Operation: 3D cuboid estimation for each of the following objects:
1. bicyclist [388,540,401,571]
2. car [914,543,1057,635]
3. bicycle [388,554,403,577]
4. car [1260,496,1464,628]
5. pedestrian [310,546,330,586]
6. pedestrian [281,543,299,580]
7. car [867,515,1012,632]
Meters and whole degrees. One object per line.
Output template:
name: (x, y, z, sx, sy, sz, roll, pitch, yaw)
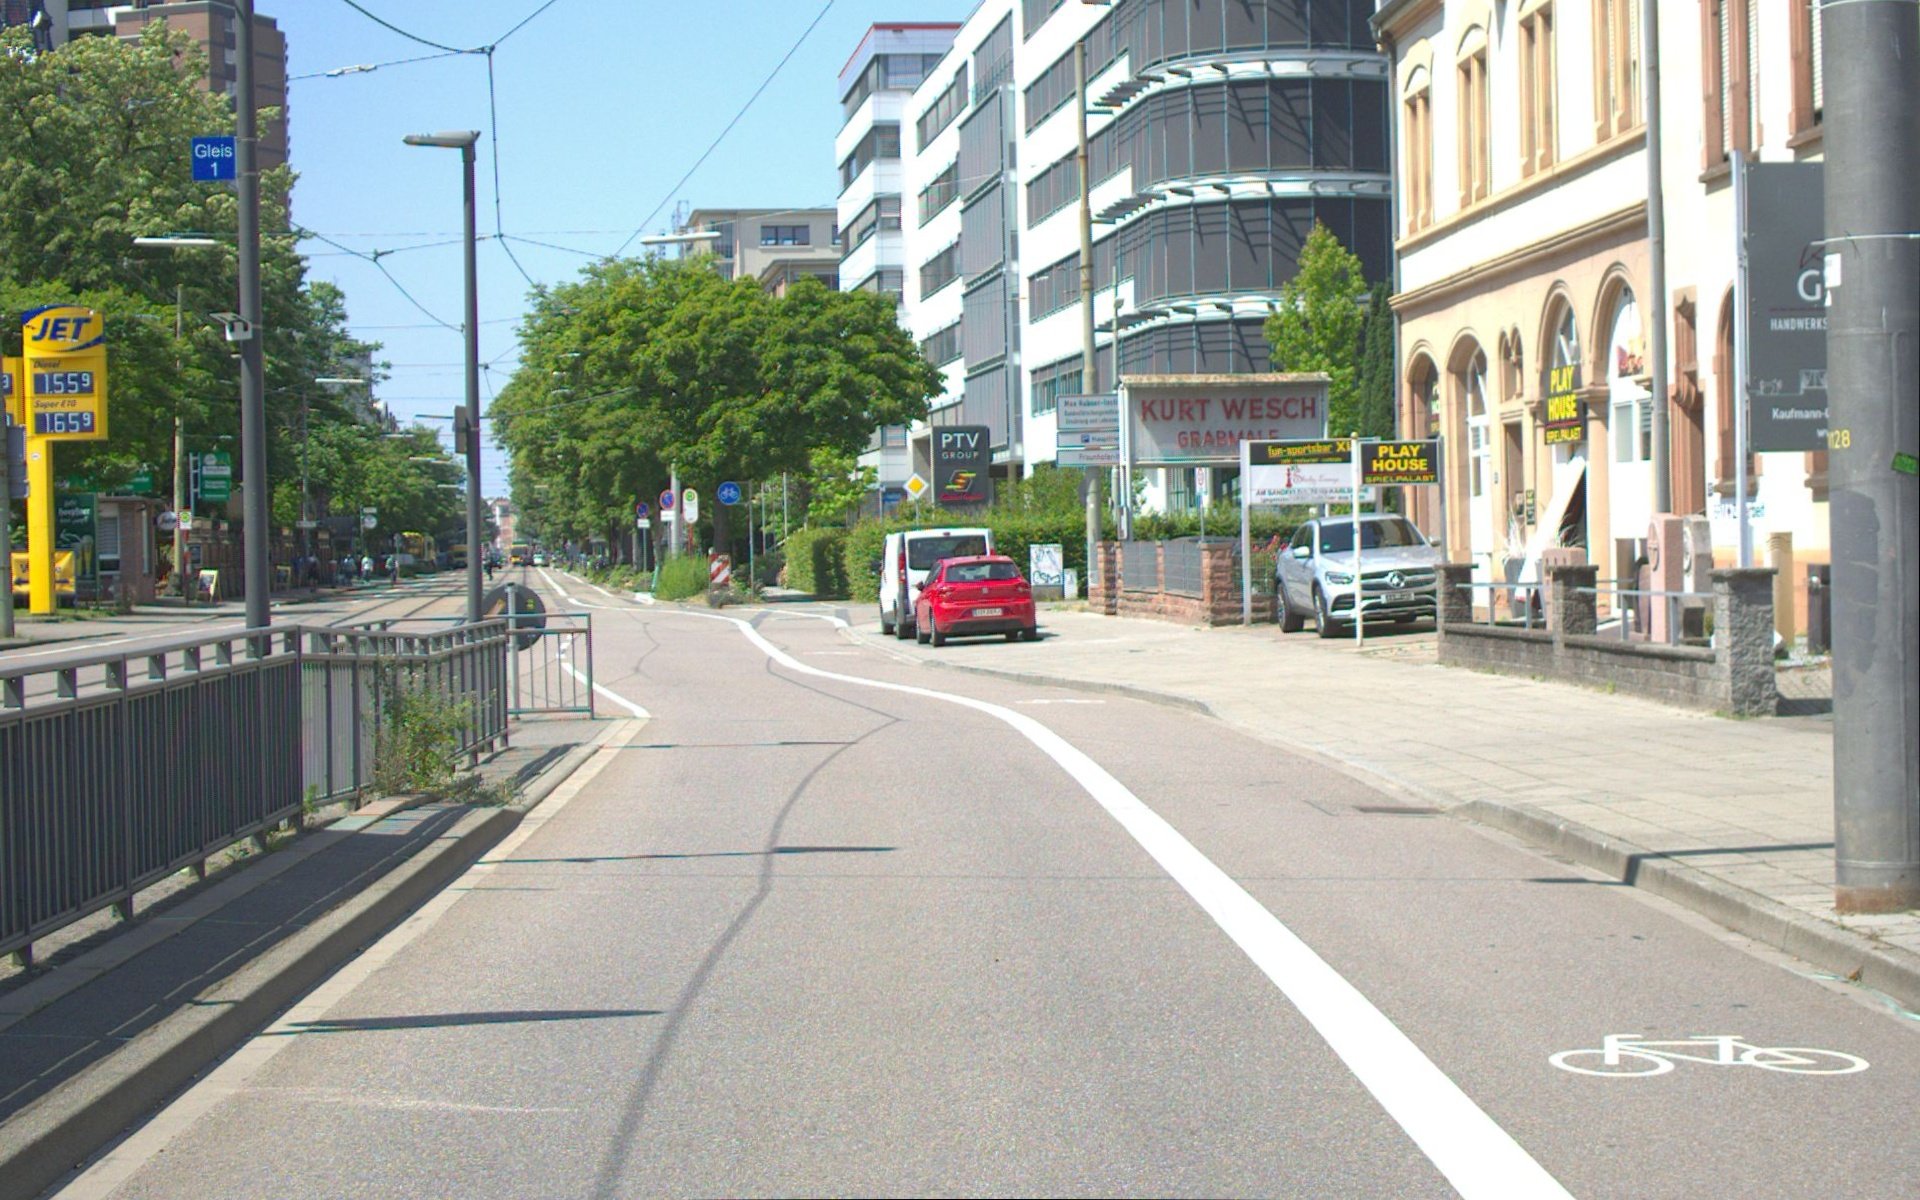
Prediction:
bicyclist: (-31.182, -2.458, 189.686, 0.642, 1.674, 0.815, -1, 1, -8)
car: (0.380, -0.211, 57.414, 1.993, 1.437, 4.018, -1, 1, -5)
bicycle: (-31.196, -1.917, 189.915, 0.701, 1.199, 2.241, -3, 2, -7)
car: (5.494, -0.542, 47.572, 1.878, 1.619, 4.640, -4, 1, -4)
pedestrian: (-28.154, -1.507, 151.250, 0.814, 1.764, 0.925, -1, 1, -7)
pedestrian: (-31.390, -1.818, 161.101, 0.743, 1.722, 0.867, -1, 1, -7)
car: (-0.434, -0.533, 64.109, 1.993, 1.985, 5.516, -3, 1, -7)
